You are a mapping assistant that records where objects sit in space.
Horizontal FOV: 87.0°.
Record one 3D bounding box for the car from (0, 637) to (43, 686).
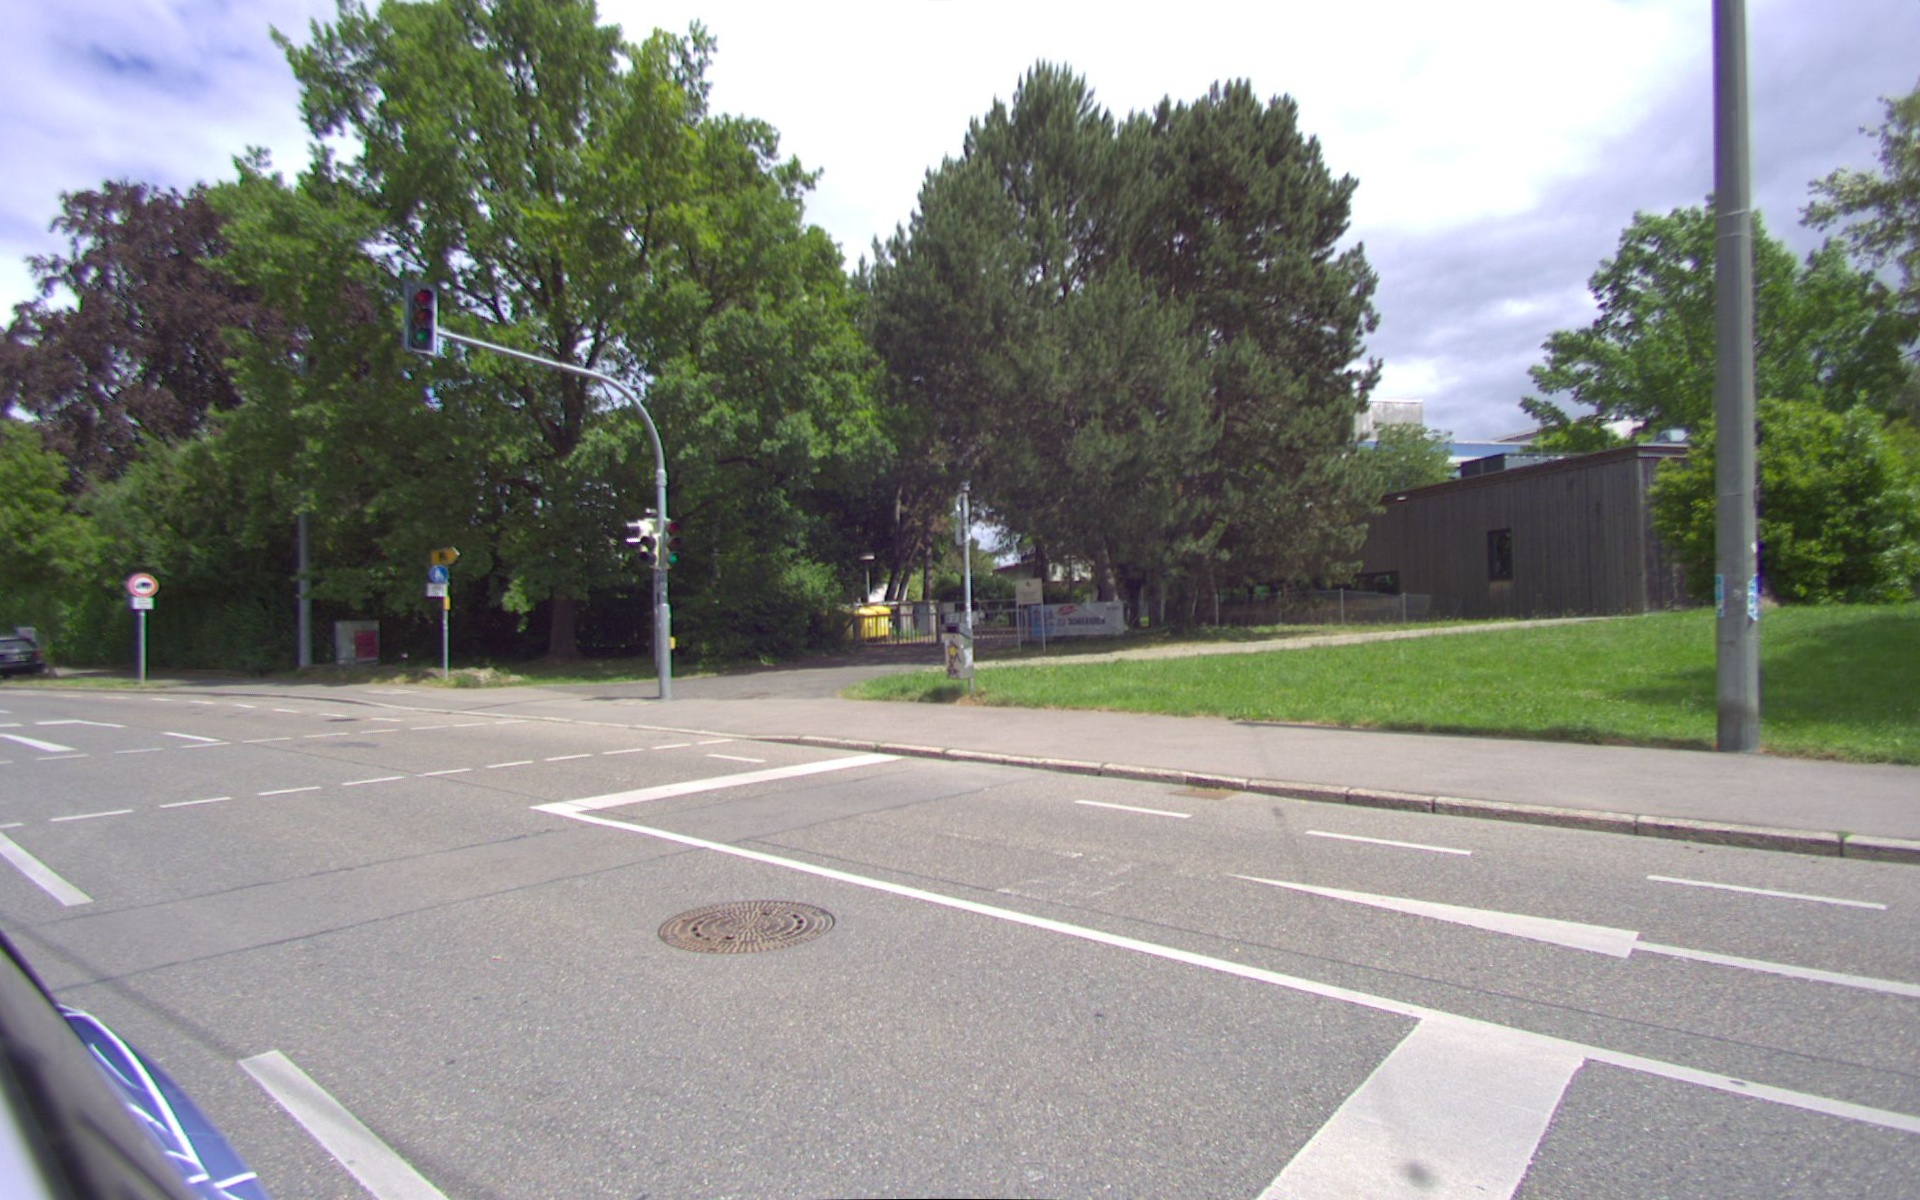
[{"bbox_3d":[-30.895,1.922,32.020,4.388,1.426,1.670,-1,0,32],"label":"car"}]
